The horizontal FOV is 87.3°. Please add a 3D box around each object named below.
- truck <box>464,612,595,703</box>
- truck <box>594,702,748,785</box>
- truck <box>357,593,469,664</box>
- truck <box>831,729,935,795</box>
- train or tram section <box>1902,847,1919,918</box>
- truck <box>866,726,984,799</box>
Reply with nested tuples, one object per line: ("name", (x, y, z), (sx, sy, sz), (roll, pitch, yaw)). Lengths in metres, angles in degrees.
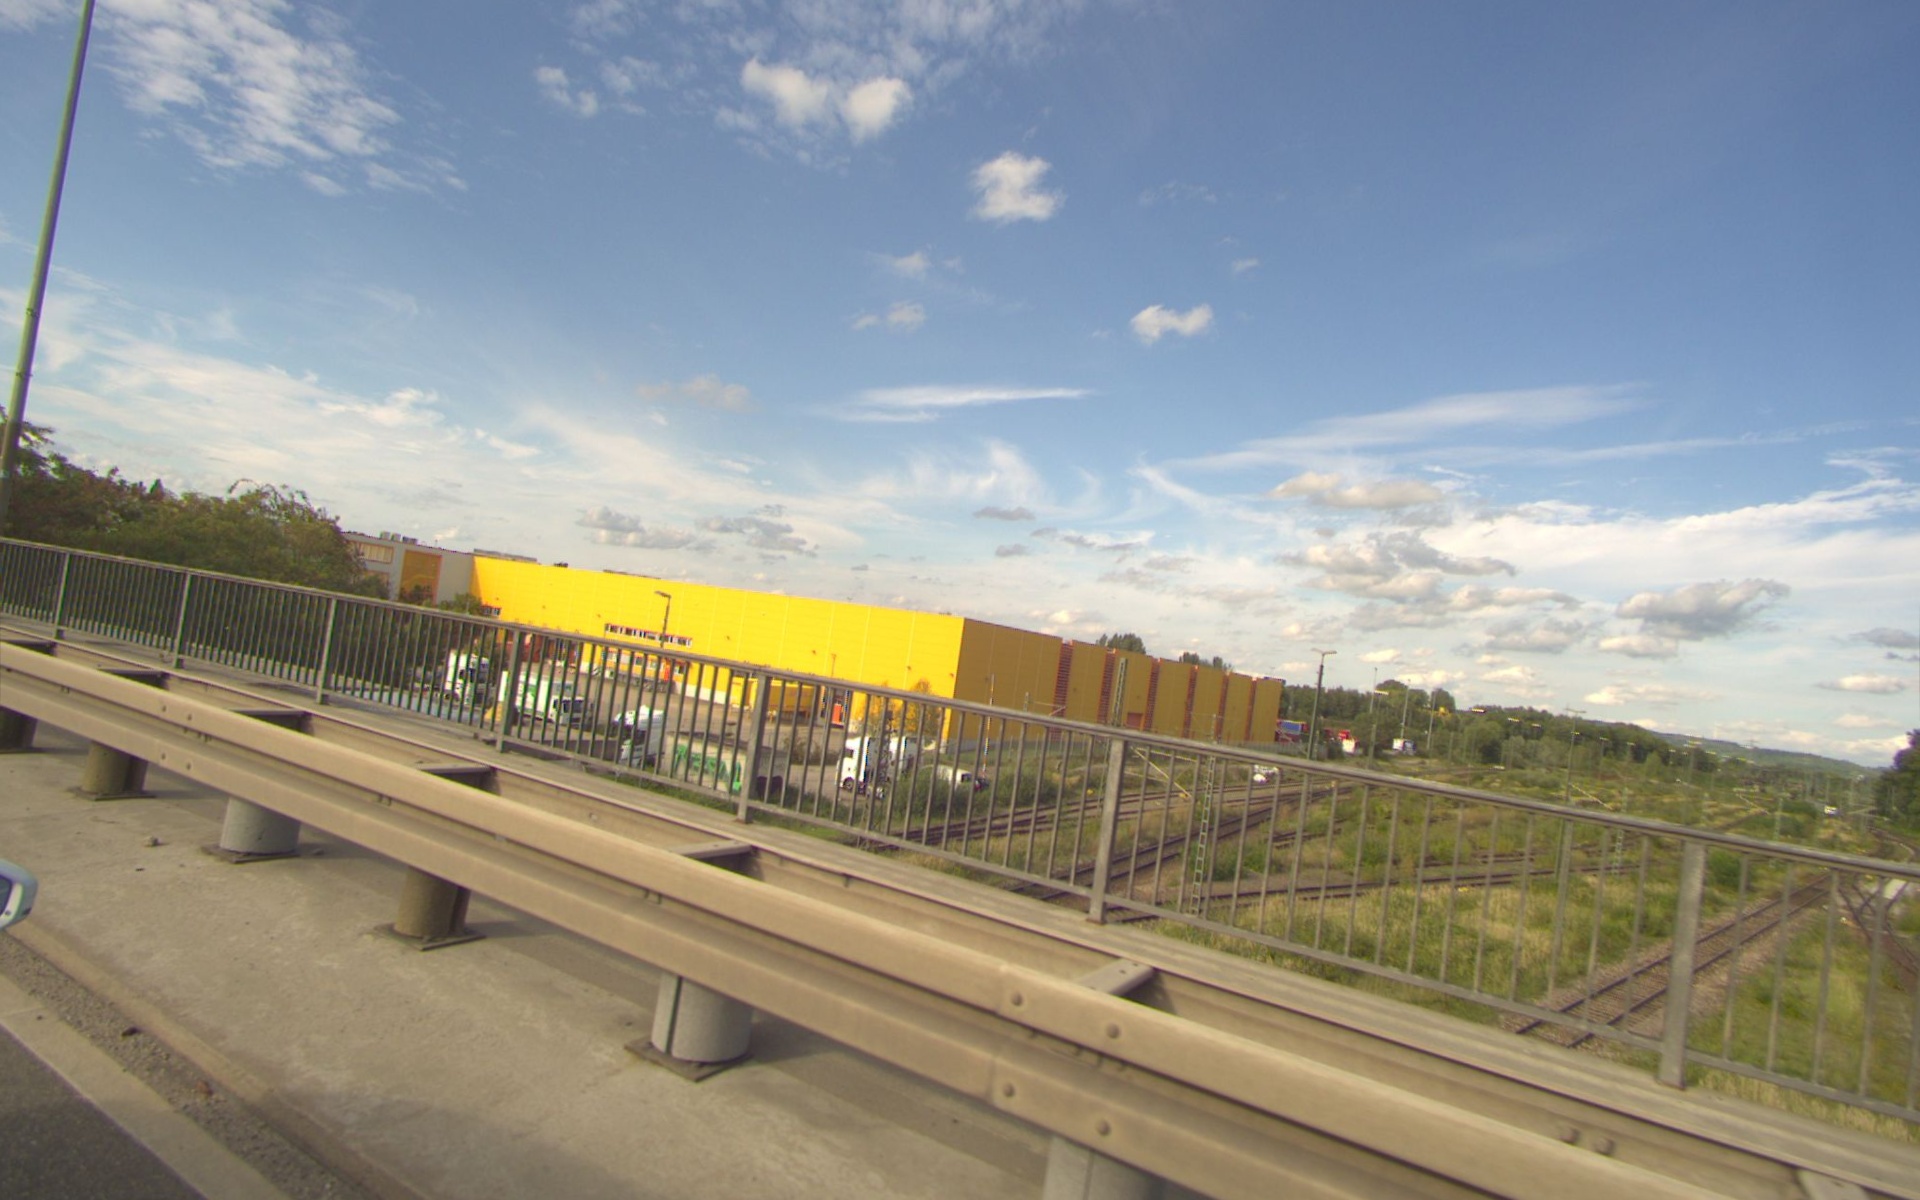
("truck", (-33.745, 4.388, 78.596), (11.099, 5.727, 3.632), (6, -1, 35))
("truck", (-16.894, 8.345, 59.563), (2.625, 4.140, 8.595), (8, 0, 36))
("truck", (-48.343, 2.448, 88.743), (11.099, 4.913, 3.632), (6, -1, 35))
("truck", (-5.102, 10.854, 68.021), (2.625, 3.661, 7.213), (8, 0, 36))
("train or tram section", (70.960, 20.937, 70.943), (3.046, 4.765, 16.728), (6, -3, 32))
("truck", (-2.572, 11.562, 72.347), (8.478, 3.421, 2.033), (8, 1, 33))
